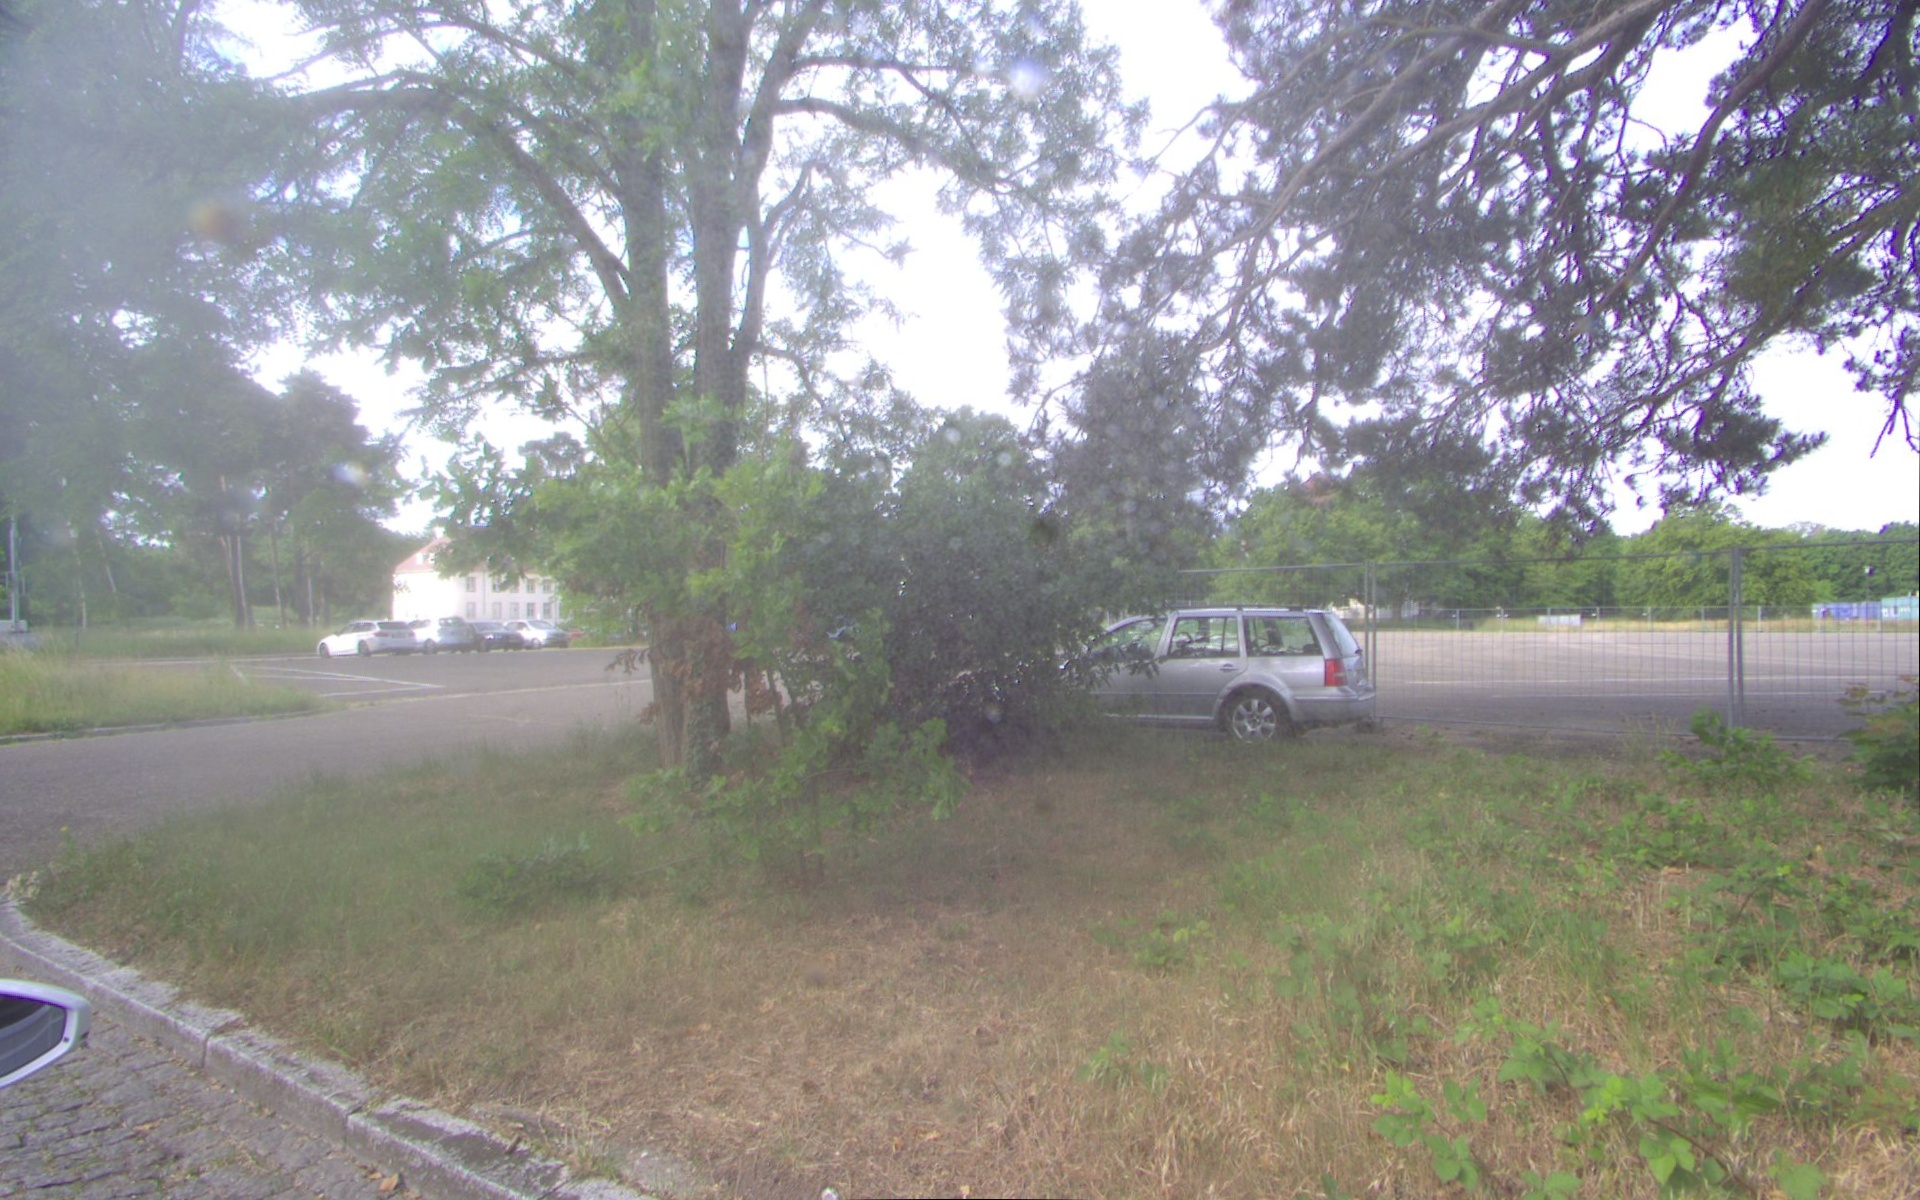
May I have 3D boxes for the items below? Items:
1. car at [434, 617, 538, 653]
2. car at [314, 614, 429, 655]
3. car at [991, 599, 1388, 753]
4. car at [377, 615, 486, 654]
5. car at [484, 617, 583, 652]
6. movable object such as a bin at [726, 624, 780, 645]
[{"bbox_3d":[-21.002,1.555,44.380,4.359,1.500,1.992,-2,-1,29],"label":"car"},{"bbox_3d":[-23.350,1.357,39.735,4.359,1.500,1.992,-2,-1,29],"label":"car"},{"bbox_3d":[2.495,0.787,11.158,4.014,1.444,1.645,-1,-3,31],"label":"car"},{"bbox_3d":[-22.169,1.452,41.963,4.359,1.500,1.992,-2,-1,29],"label":"car"},{"bbox_3d":[-19.987,1.640,46.894,4.359,1.542,1.992,-2,-3,29],"label":"car"},{"bbox_3d":[-8.406,1.394,40.681,1.928,0.836,1.181,-1,-1,37],"label":"movable object such as a bin"}]
